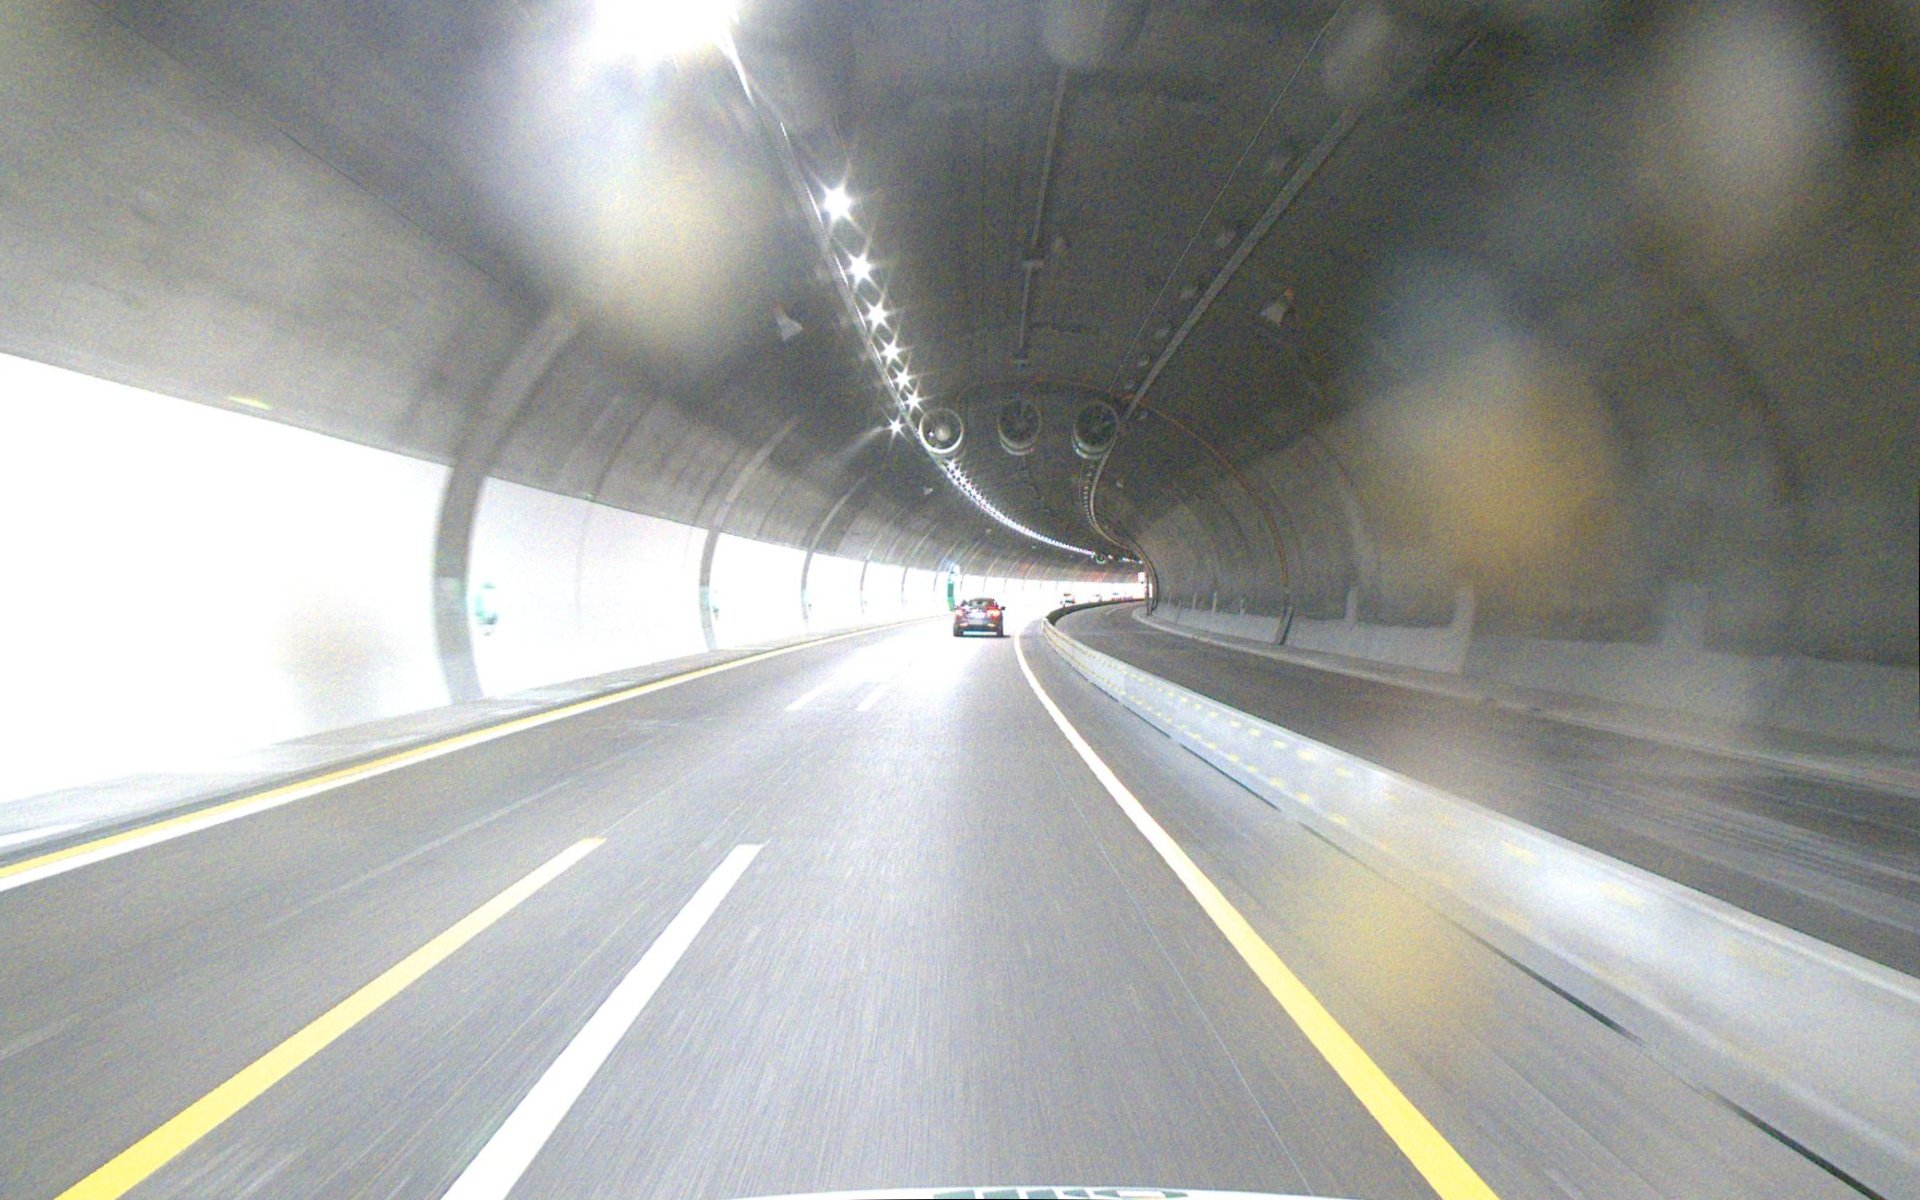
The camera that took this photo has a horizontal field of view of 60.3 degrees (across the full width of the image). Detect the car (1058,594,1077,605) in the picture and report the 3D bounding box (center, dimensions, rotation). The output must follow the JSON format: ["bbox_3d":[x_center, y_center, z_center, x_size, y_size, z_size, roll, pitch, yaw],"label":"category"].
[{"bbox_3d":[14.884,-0.120,228.626,2.118,1.512,4.004,1,0,9],"label":"car"}]

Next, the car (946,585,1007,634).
[{"bbox_3d":[0.667,0.341,61.644,2.096,1.735,4.002,1,0,3],"label":"car"}]

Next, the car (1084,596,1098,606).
[{"bbox_3d":[18.186,0.125,229.853,1.561,1.356,3.754,1,0,10],"label":"car"}]
